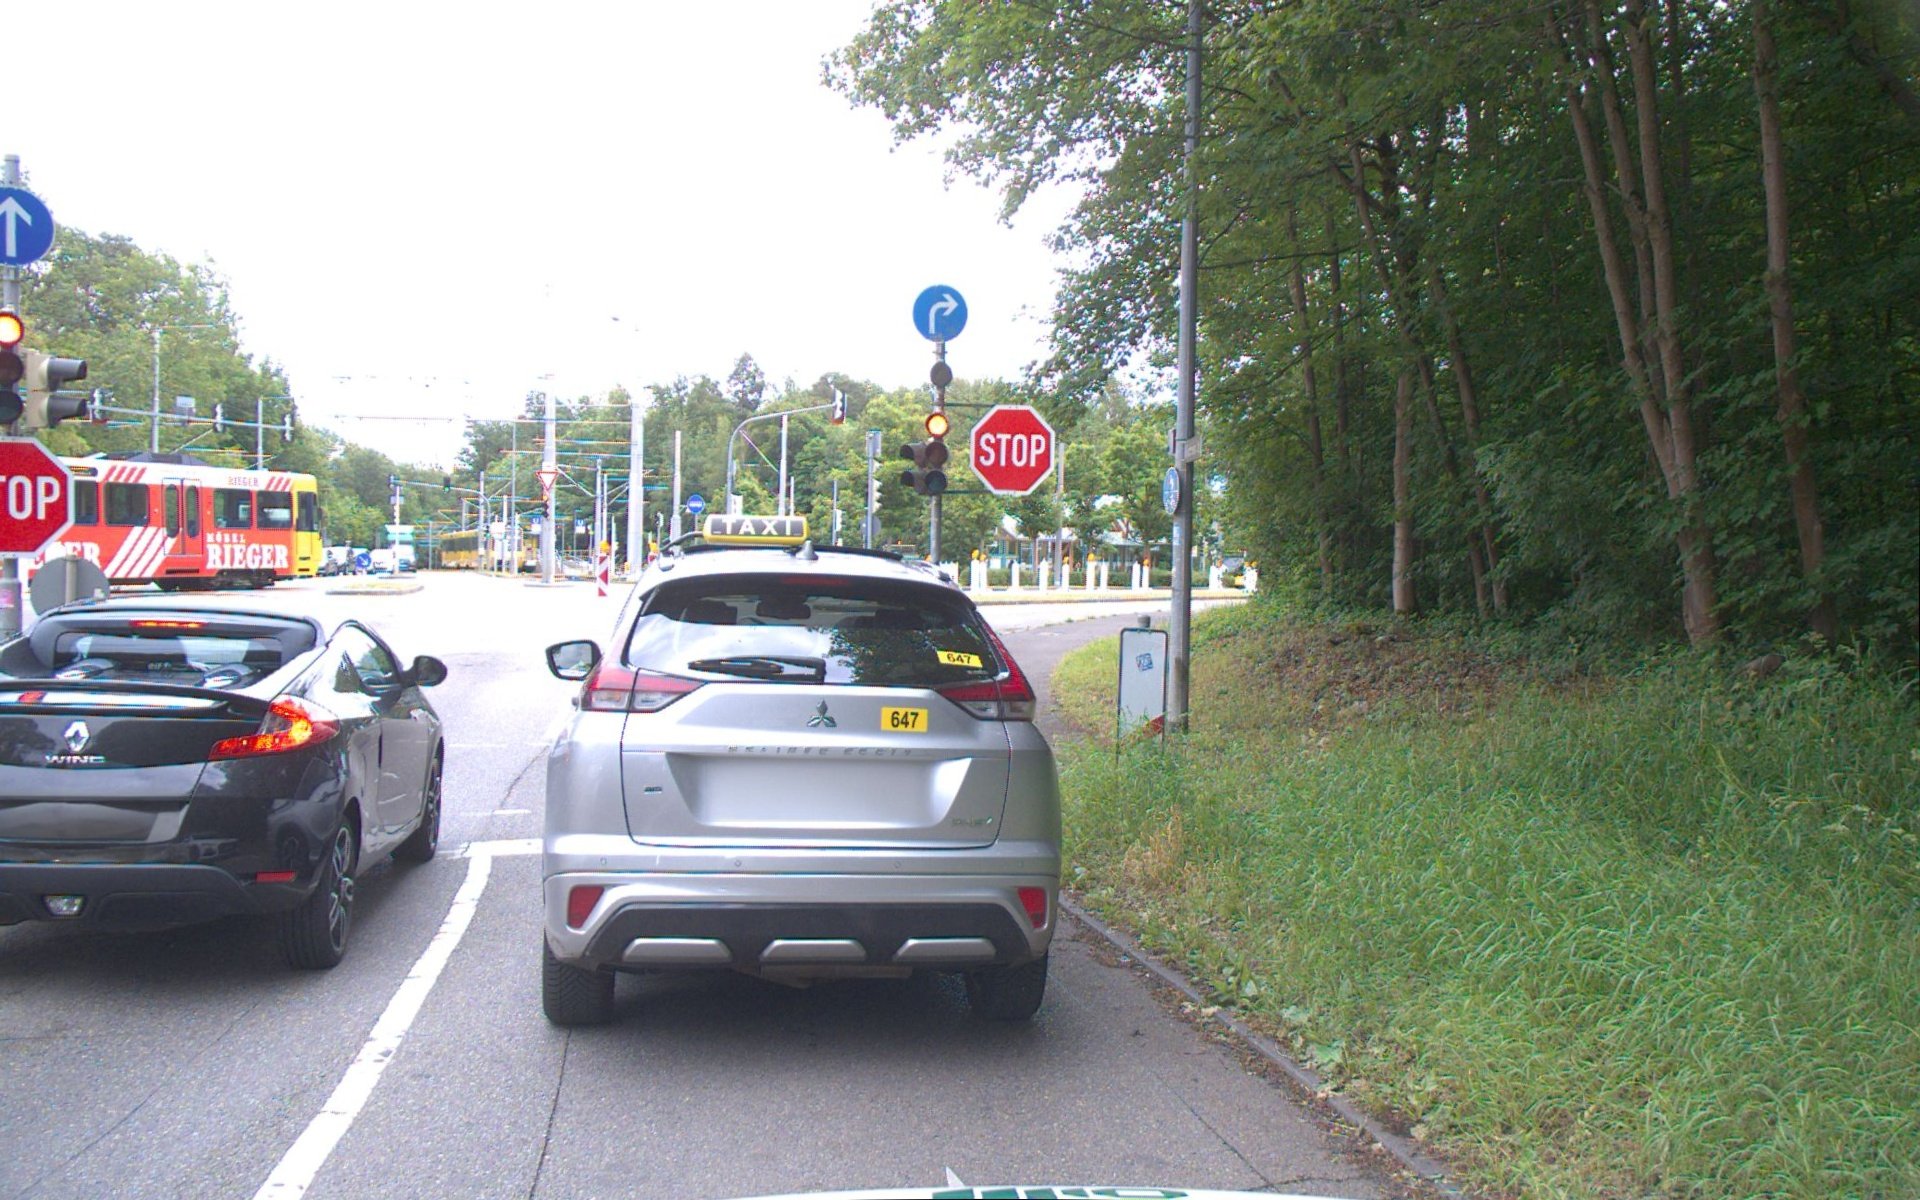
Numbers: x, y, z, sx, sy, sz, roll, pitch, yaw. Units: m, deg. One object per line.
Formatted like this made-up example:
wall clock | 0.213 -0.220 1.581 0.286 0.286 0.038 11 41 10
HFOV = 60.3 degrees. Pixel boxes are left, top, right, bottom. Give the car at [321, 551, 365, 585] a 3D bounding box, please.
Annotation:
car | -34.961 -1.826 93.842 1.930 1.877 4.670 1 1 -16

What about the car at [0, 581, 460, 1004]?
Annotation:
car | -3.306 0.629 7.309 1.742 1.385 3.467 0 1 -11

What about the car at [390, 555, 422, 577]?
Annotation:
car | -39.987 -2.481 119.424 1.930 1.567 4.292 1 1 -16

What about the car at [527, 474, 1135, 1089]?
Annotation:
car | -0.650 0.520 6.786 1.741 1.778 3.773 2 1 -9

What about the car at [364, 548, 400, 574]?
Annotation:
car | -37.059 -2.508 106.147 1.930 1.568 4.378 1 1 -16

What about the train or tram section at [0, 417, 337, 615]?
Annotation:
train or tram section | -23.487 -2.013 42.678 2.885 4.732 18.553 1 0 18

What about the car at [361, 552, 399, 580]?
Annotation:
car | -35.315 -2.093 100.811 1.930 1.635 4.292 1 1 -16
